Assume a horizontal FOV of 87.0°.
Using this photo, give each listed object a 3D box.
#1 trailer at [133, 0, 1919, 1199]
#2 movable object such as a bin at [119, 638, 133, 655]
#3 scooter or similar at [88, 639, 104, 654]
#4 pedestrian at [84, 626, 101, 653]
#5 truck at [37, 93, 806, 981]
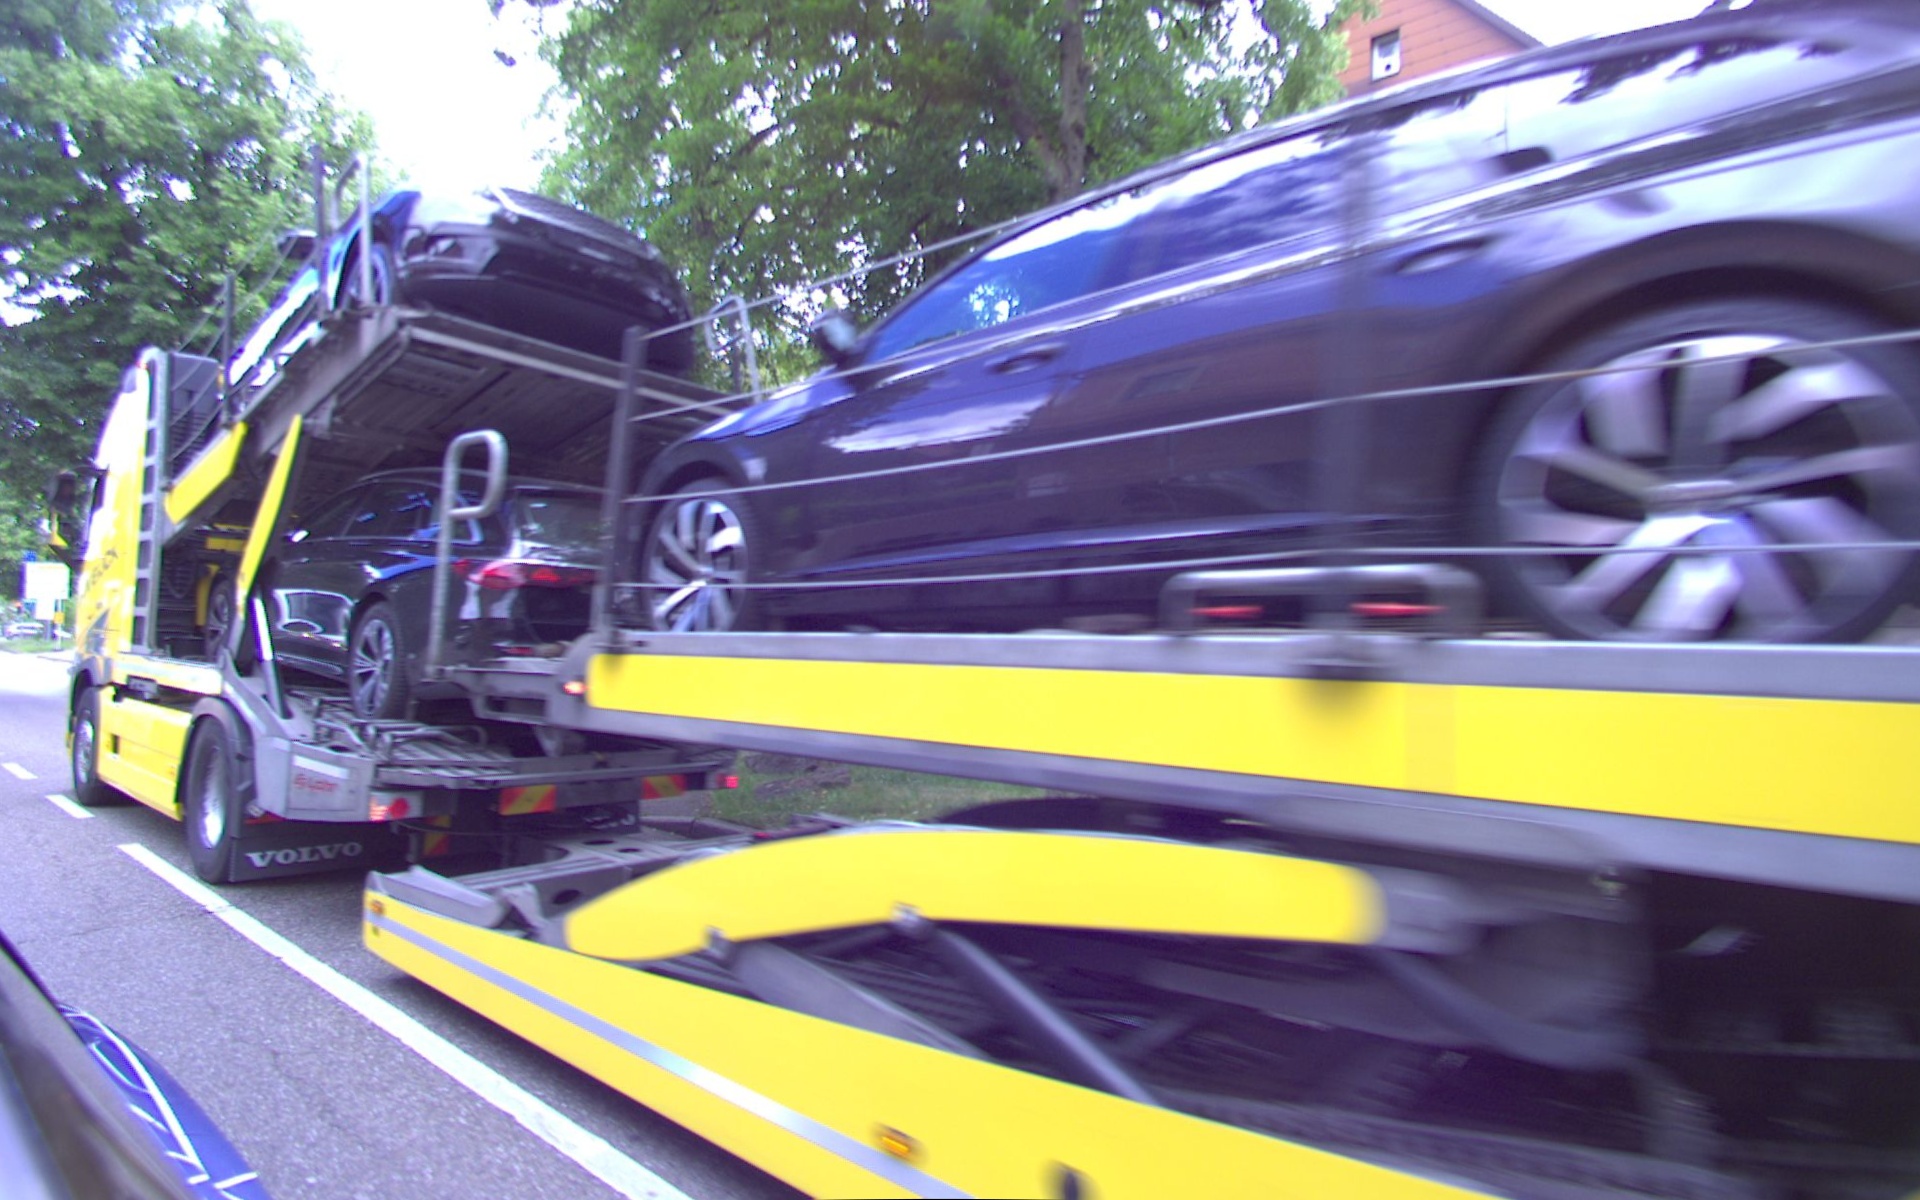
[{"bbox_3d":[1.204,-0.325,2.662,14.383,3.837,2.828,-1,-1,41],"label":"trailer"},{"bbox_3d":[-48.174,2.695,58.482,0.558,0.934,0.609,1,-1,-34],"label":"movable object such as a bin"},{"bbox_3d":[-49.906,2.674,58.458,0.598,0.792,0.861,0,-1,-32],"label":"scooter or similar"},{"bbox_3d":[-50.623,2.296,59.070,0.662,1.570,0.521,0,-1,-32],"label":"pedestrian"},{"bbox_3d":[-4.780,-0.247,7.941,7.666,3.811,2.814,-1,-1,41],"label":"truck"}]
